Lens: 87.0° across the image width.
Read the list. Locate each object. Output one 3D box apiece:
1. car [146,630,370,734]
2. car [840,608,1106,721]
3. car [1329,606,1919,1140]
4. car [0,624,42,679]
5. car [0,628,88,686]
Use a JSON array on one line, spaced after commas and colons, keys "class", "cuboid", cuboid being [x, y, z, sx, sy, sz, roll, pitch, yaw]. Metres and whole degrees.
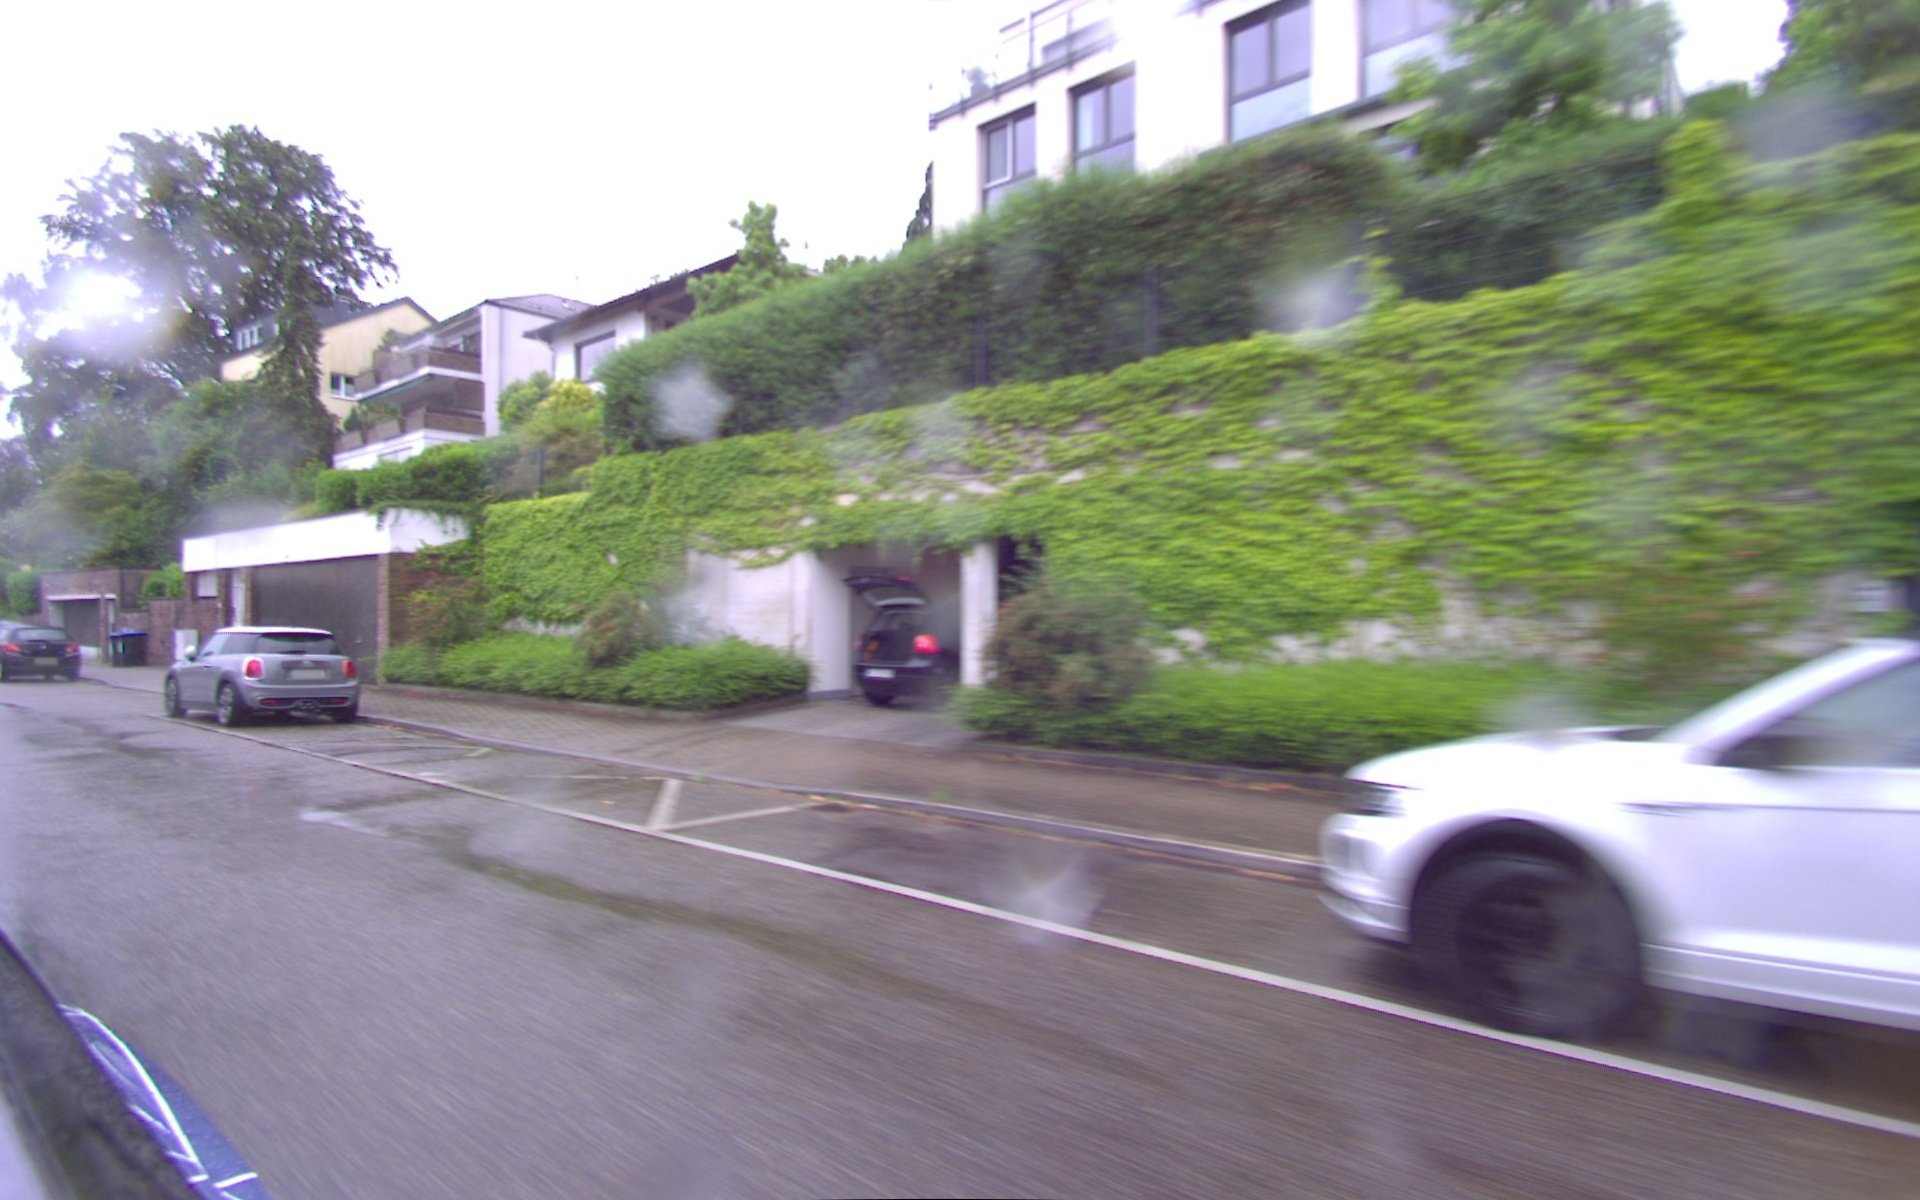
[{"class": "car", "cuboid": [-10.907, 1.195, 15.655, 3.764, 1.413, 1.739, -1, -4, 37]}, {"class": "car", "cuboid": [0.286, 0.851, 14.579, 1.865, 1.394, 3.718, -2, -2, 41]}, {"class": "car", "cuboid": [3.607, 0.793, 3.291, 4.214, 1.509, 1.739, -1, -2, 38]}, {"class": "car", "cuboid": [-28.792, 1.507, 29.898, 3.750, 1.551, 1.739, -2, -5, 37]}, {"class": "car", "cuboid": [-24.551, 1.505, 26.541, 3.698, 1.420, 1.739, -2, -5, 37]}]
